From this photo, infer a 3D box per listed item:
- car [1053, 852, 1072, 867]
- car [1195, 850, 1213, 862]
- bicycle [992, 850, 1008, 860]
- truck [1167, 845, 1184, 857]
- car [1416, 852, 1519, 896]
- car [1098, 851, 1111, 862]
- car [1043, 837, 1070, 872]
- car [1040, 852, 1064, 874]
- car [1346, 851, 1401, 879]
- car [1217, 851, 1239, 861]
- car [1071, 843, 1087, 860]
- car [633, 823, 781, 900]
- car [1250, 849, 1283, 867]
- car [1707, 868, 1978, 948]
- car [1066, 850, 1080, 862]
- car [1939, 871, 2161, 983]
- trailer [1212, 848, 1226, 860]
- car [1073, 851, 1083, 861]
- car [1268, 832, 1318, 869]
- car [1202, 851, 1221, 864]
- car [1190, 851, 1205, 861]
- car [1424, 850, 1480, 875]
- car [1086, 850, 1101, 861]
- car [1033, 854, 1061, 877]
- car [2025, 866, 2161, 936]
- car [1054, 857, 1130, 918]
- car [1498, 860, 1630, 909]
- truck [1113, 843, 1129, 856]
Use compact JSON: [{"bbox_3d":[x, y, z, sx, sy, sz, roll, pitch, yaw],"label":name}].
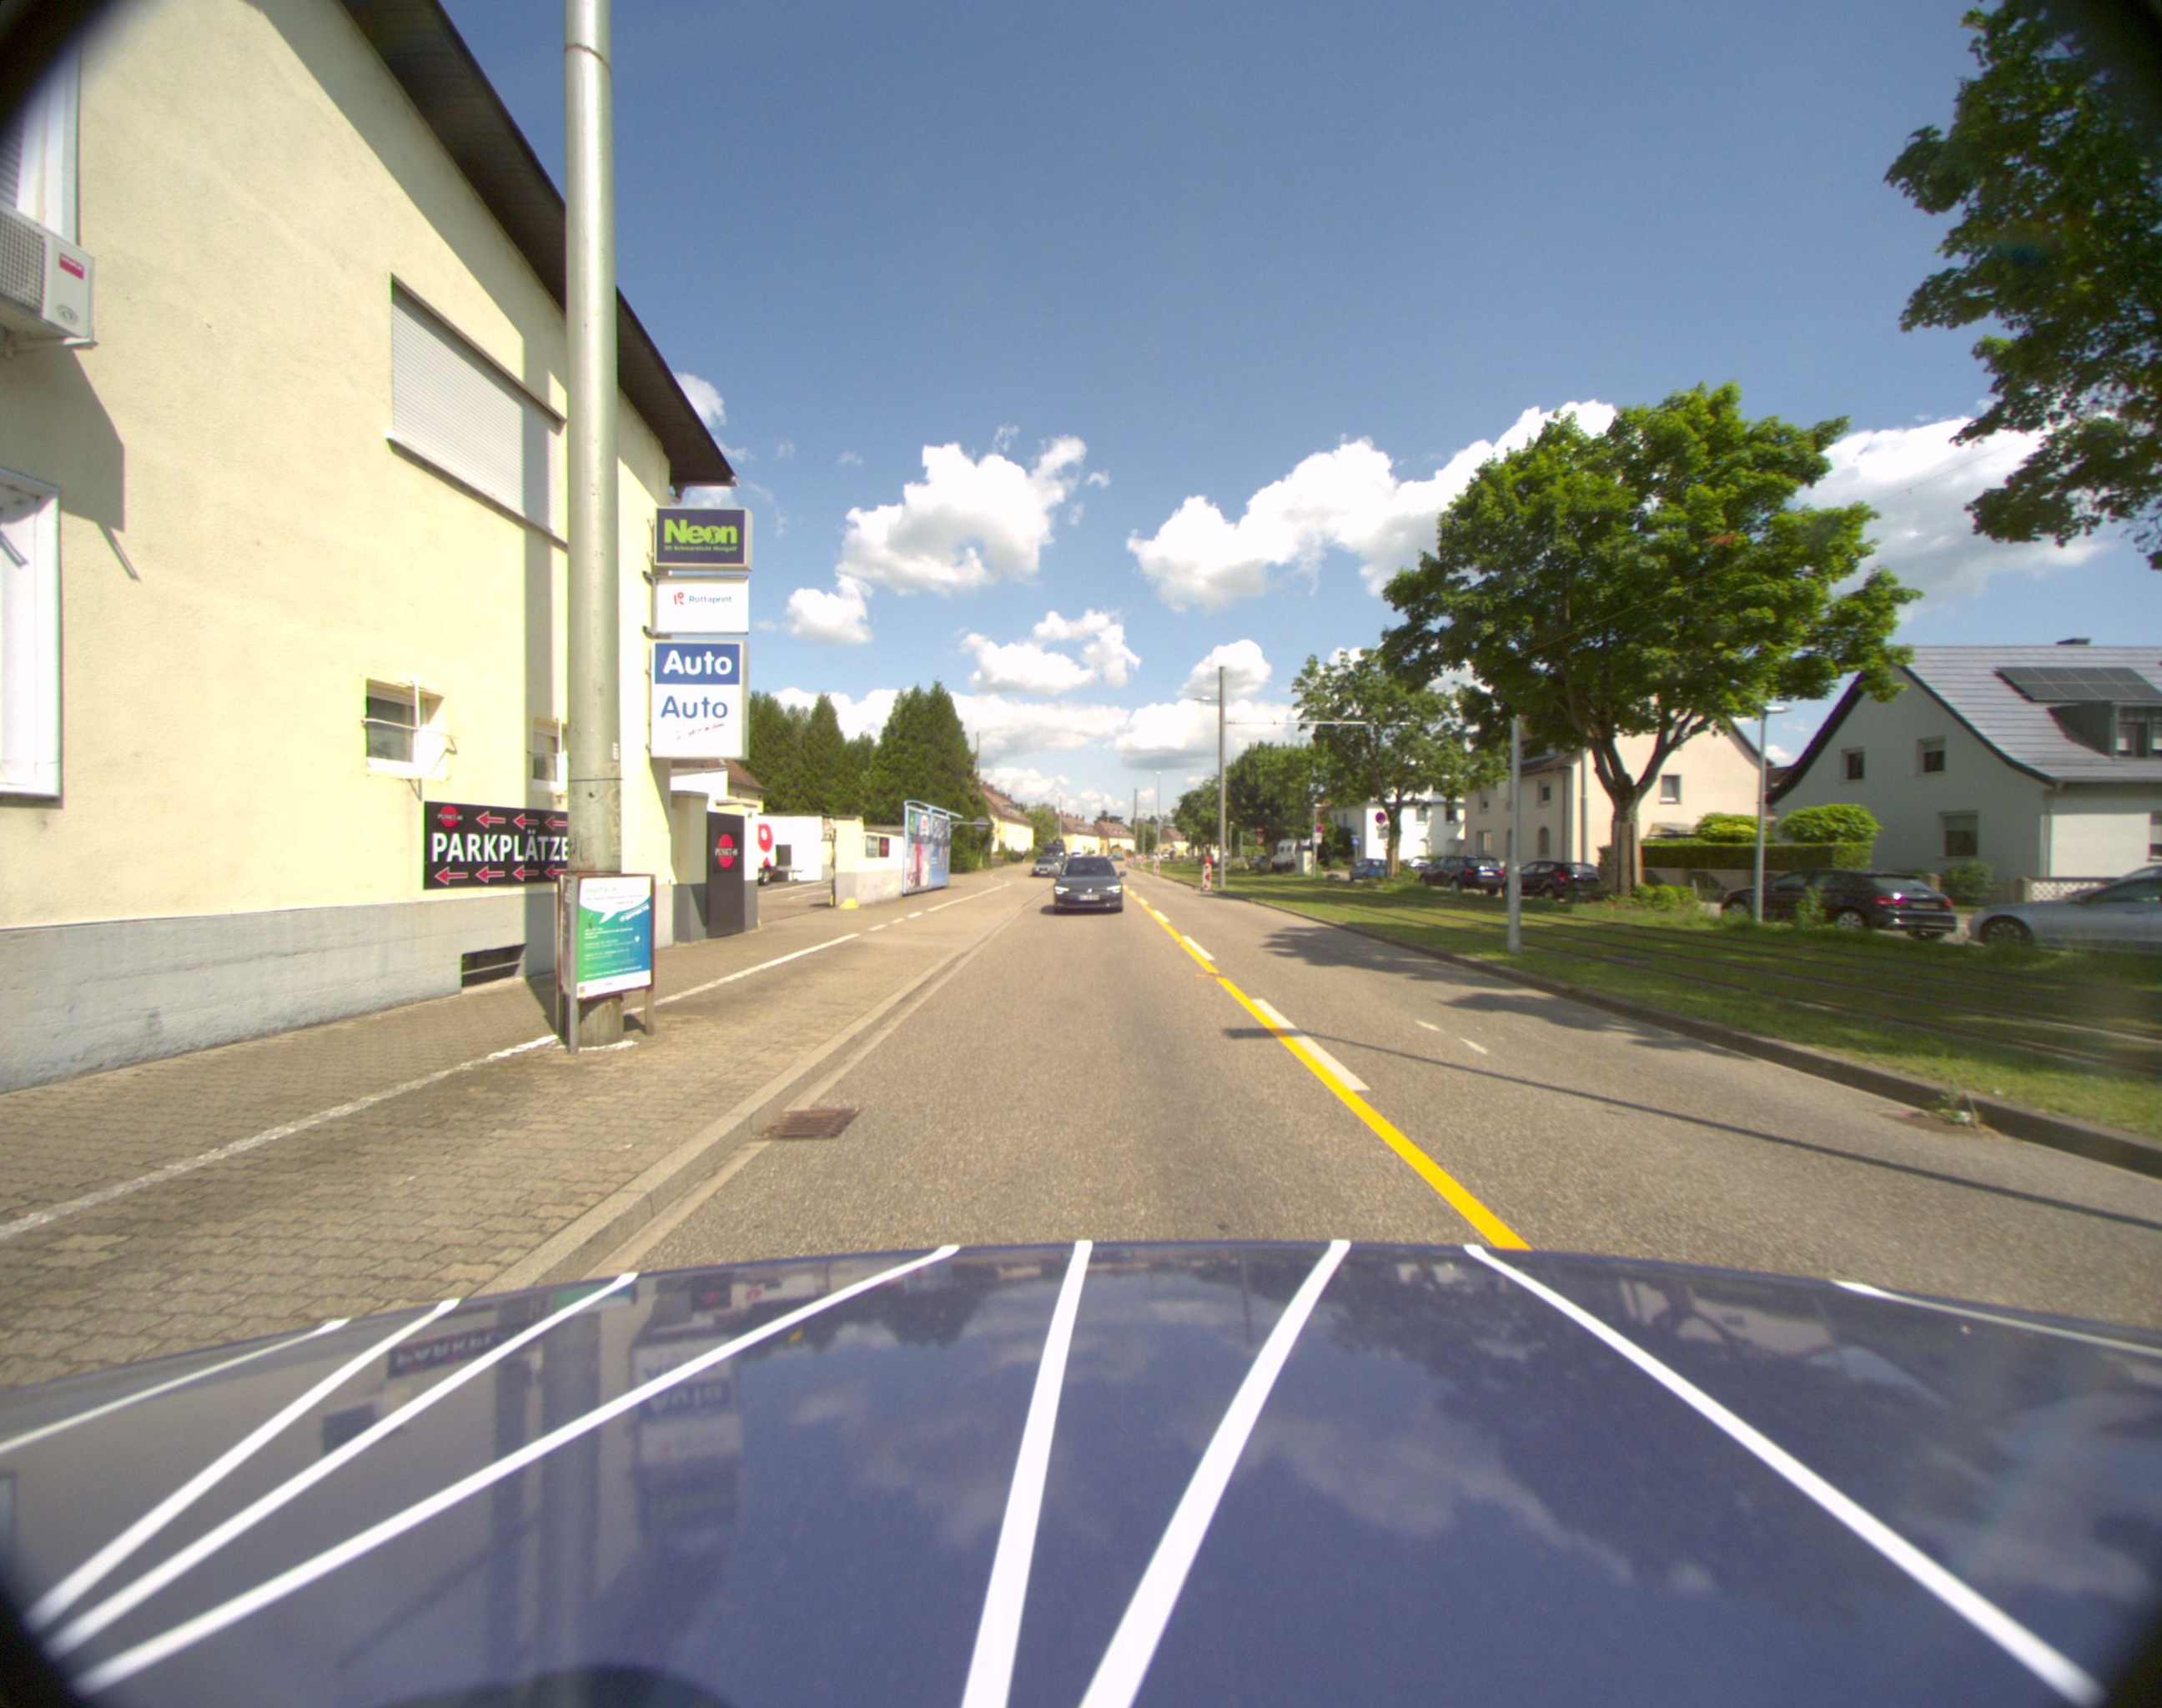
[{"bbox_3d":[-1.834,0.511,74.678,1.725,1.288,4.128,1,1,0],"label":"car"},{"bbox_3d":[17.808,0.273,109.935,1.998,1.531,4.322,1,1,2],"label":"car"},{"bbox_3d":[-9.070,0.156,84.833,1.693,1.096,0.290,0,1,1],"label":"bicycle"},{"bbox_3d":[27.618,-0.871,221.597,2.698,3.346,8.063,2,0,22],"label":"truck"},{"bbox_3d":[16.450,0.785,32.637,1.999,1.681,4.390,1,1,-2],"label":"car"},{"bbox_3d":[3.983,0.367,127.365,1.997,1.791,4.002,0,0,6],"label":"car"},{"bbox_3d":[-2.011,0.007,63.683,2.001,2.745,4.878,1,1,1],"label":"car"},{"bbox_3d":[-2.159,0.661,57.790,1.696,1.507,4.354,1,1,-1],"label":"car"},{"bbox_3d":[16.448,0.609,42.862,1.758,1.427,3.889,1,1,3],"label":"car"},{"bbox_3d":[17.200,0.217,89.104,1.785,1.087,3.836,1,1,1],"label":"car"},{"bbox_3d":[-0.282,-0.353,118.159,1.923,2.522,5.346,1,0,5],"label":"car"},{"bbox_3d":[-13.168,0.110,27.383,1.998,2.430,6.171,0,3,2],"label":"car"},{"bbox_3d":[16.899,0.313,69.458,1.998,1.497,4.486,1,1,1],"label":"car"},{"bbox_3d":[16.251,1.073,16.564,1.998,1.310,3.852,3,1,1],"label":"car"},{"bbox_3d":[-1.076,0.245,104.472,1.756,1.480,4.627,2,1,1],"label":"car"},{"bbox_3d":[16.121,1.090,11.005,1.809,1.474,4.939,1,1,1],"label":"car"},{"bbox_3d":[17.094,0.006,94.426,1.302,1.510,2.282,1,1,1],"label":"trailer"},{"bbox_3d":[-0.371,0.287,113.444,1.358,1.299,3.543,1,1,2],"label":"car"},{"bbox_3d":[16.708,-0.299,60.293,1.999,2.715,6.461,1,0,-1],"label":"car"},{"bbox_3d":[17.888,0.481,104.584,1.910,1.569,4.101,4,-1,2],"label":"car"},{"bbox_3d":[19.666,0.344,128.443,1.998,1.531,4.323,1,1,4],"label":"car"},{"bbox_3d":[25.263,0.520,51.937,1.907,1.568,3.999,1,1,1],"label":"car"},{"bbox_3d":[1.736,0.176,104.374,1.998,1.566,4.000,0,0,1],"label":"car"},{"bbox_3d":[-2.333,0.768,52.957,1.655,1.423,4.096,1,1,2],"label":"car"},{"bbox_3d":[24.729,1.017,17.270,3.997,1.393,1.982,-1,1,1],"label":"car"},{"bbox_3d":[0.252,0.821,20.629,1.786,1.412,4.289,-2,0,-1],"label":"car"},{"bbox_3d":[16.625,0.999,26.432,1.998,1.430,3.999,2,1,1],"label":"car"},{"bbox_3d":[9.710,-1.136,182.882,2.529,2.931,7.868,1,1,13],"label":"truck"}]
